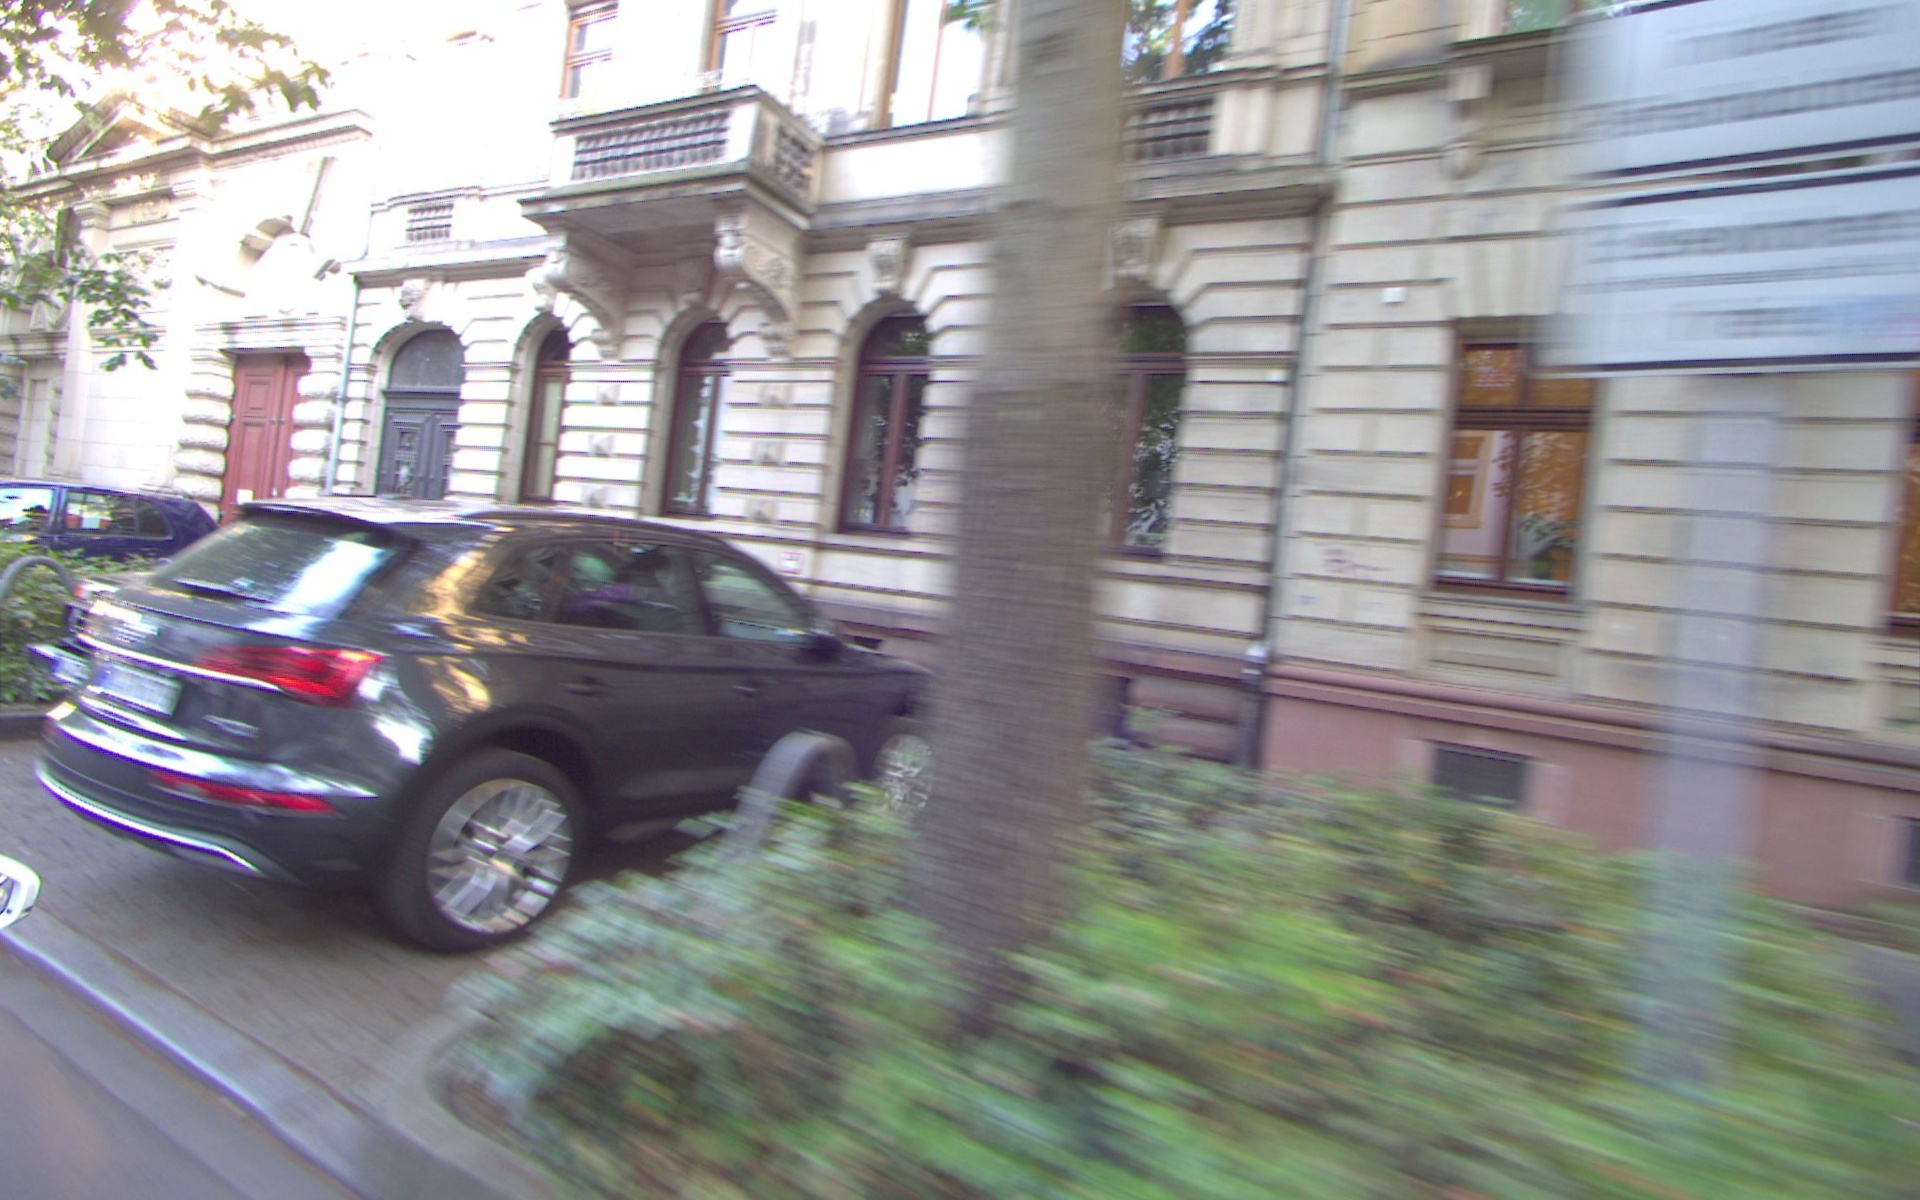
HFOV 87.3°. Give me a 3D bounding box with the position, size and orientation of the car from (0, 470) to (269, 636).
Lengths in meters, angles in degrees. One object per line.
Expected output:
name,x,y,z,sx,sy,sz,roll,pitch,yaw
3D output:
car,-9.472,-0.518,9.681,1.823,1.500,4.228,7,2,29

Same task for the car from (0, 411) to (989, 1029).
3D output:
car,-1.801,0.380,5.238,1.934,1.739,4.447,6,0,29

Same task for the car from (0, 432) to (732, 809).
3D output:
car,-3.672,0.171,6.861,1.735,1.707,4.015,8,0,29
